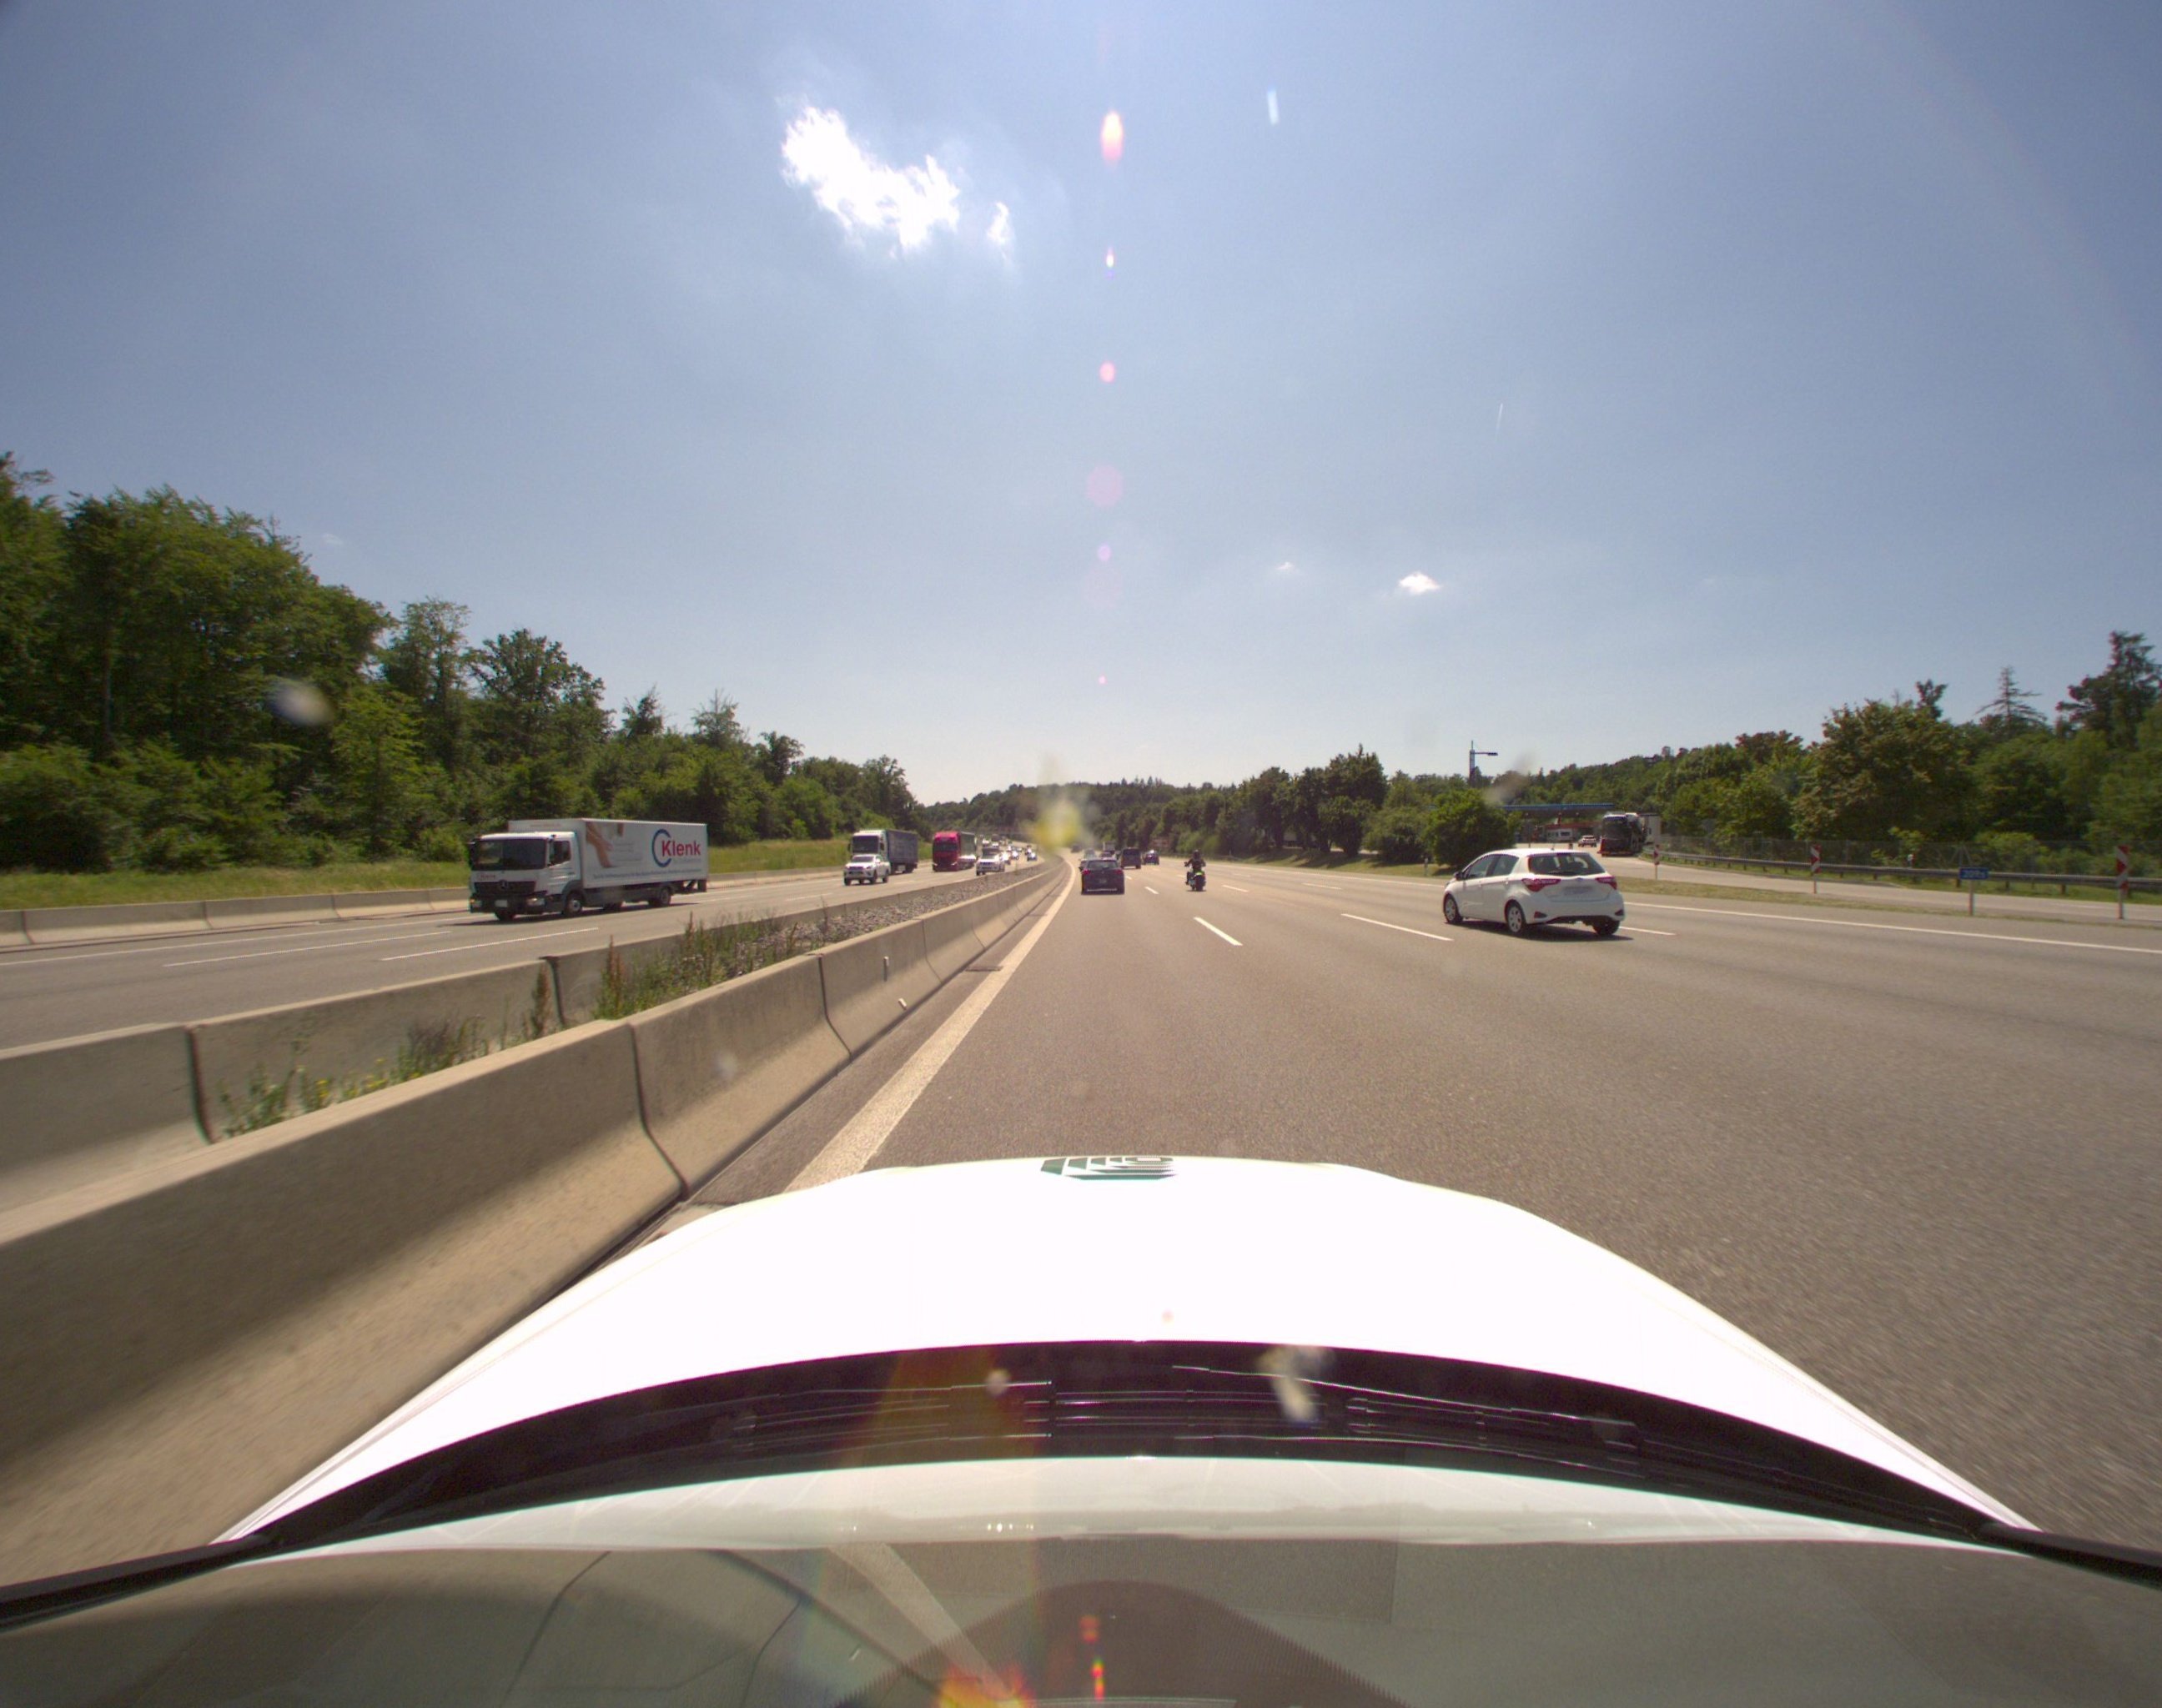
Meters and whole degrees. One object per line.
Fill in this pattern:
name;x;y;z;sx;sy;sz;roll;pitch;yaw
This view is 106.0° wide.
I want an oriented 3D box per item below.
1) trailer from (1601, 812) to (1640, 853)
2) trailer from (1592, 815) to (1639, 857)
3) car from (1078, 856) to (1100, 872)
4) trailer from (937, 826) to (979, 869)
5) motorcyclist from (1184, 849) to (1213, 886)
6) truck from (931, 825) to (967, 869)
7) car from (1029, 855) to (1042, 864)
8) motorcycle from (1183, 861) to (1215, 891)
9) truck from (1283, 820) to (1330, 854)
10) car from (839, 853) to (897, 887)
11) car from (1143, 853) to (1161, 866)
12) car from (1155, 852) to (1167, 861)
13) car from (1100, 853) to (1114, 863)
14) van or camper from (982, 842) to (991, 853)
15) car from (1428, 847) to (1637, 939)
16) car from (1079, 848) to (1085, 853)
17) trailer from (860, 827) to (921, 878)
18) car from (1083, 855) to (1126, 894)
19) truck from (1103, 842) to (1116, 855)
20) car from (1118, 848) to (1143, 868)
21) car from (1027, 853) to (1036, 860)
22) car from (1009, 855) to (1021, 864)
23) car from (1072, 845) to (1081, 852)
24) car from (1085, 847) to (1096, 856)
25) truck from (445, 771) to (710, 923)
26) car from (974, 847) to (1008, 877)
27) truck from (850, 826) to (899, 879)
trailer;54.852;-2.175;82.759;3.050;3.899;6.002;-1;1;36
trailer;50.746;-1.768;77.068;3.128;3.637;13.709;-1;1;36
car;0.677;0.864;71.574;1.777;1.265;3.459;-2;0;-1
trailer;-13.467;-0.748;90.716;2.493;4.351;14.300;-1;0;0
motorcyclist;4.736;0.532;32.942;0.959;1.437;1.235;-1;0;0
truck;-13.508;-0.689;83.883;2.493;4.351;6.605;-1;0;0
car;-7.793;0.975;140.405;1.987;1.548;4.879;-2;0;-1
motorcycle;4.790;0.881;33.295;0.974;1.129;2.271;-1;0;0
truck;34.177;-2.408;124.358;3.315;4.829;14.700;-1;0;1
car;-13.203;0.934;50.775;1.986;1.970;5.738;-1;0;1
car;8.151;0.601;93.625;1.670;1.432;3.683;1;-1;-1
car;11.947;0.383;121.727;1.602;1.212;3.462;-1;-1;3
car;3.580;0.553;113.279;1.836;1.222;4.224;2;0;0
van or camper;-27.064;-1.811;233.944;2.311;2.771;7.151;2;2;-5
car;8.048;0.622;15.040;1.659;1.433;4.380;-1;0;4
car;0.297;-1.095;256.390;1.987;1.574;4.000;2;0;0
trailer;-17.610;-0.162;76.416;2.493;4.351;13.695;0;0;0
car;0.892;0.795;32.973;1.619;1.487;3.684;-1;0;0
truck;6.586;-1.271;190.733;2.717;2.786;5.682;2;0;0
car;4.650;0.383;76.665;2.090;1.851;4.080;-1;0;0
car;-12.612;0.623;206.877;1.981;1.548;4.879;-2;0;-1
car;-12.578;1.007;155.869;2.018;1.548;4.879;-2;0;-1
car;-1.280;-1.512;231.788;1.993;2.013;4.660;2;0;-9
car;1.893;-0.441;162.066;1.987;1.684;4.423;2;0;0
truck;-16.101;-0.171;27.285;2.521;4.177;9.624;-1;0;2
car;-7.238;0.600;66.044;1.986;2.289;5.766;-1;0;1
truck;-17.611;-0.116;69.696;2.493;4.351;6.603;-1;0;-1
